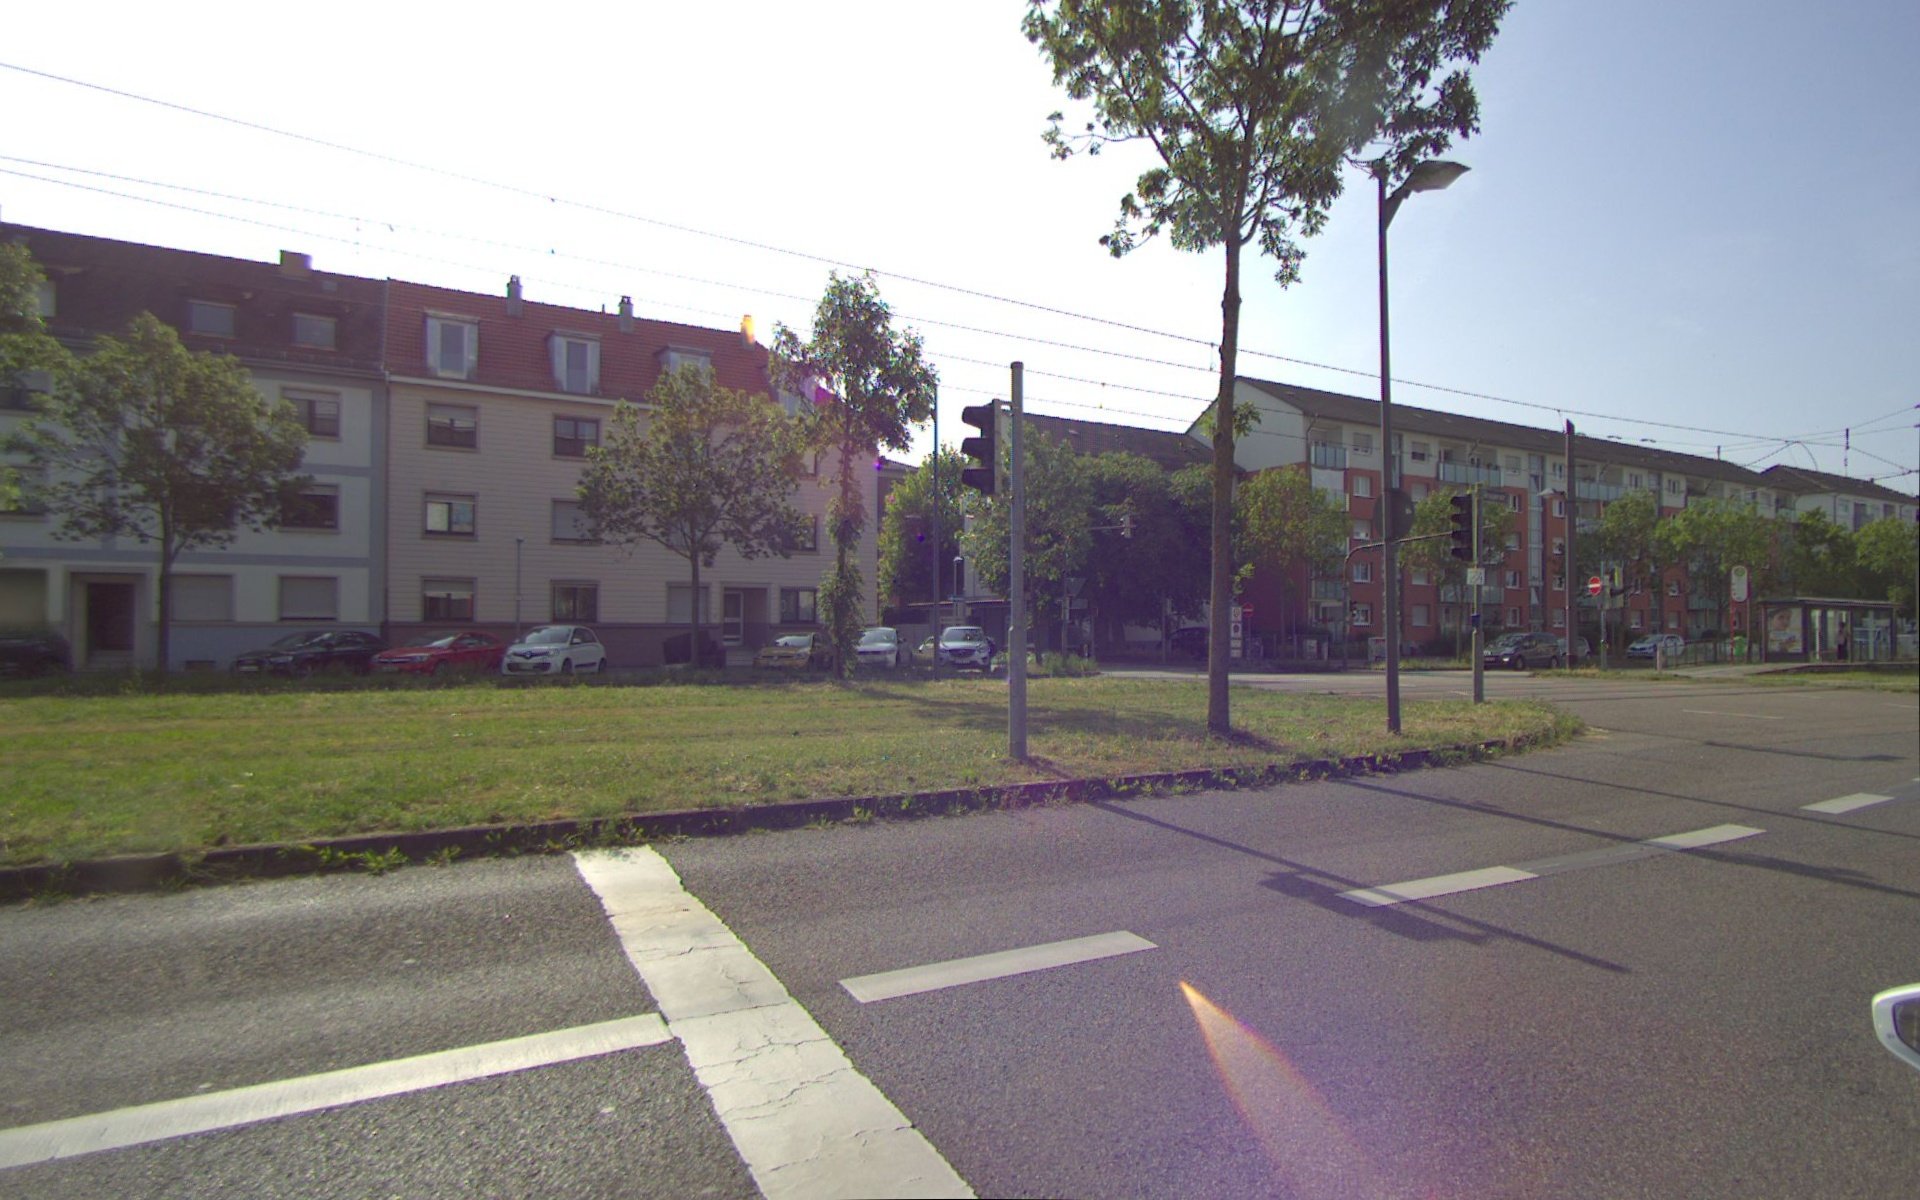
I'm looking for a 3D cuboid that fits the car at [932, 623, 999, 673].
[{"bbox_3d":[0.262,1.588,34.268,1.924,1.483,4.355,1,0,4],"label":"car"}]

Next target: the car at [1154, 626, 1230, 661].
[{"bbox_3d":[12.781,2.375,55.540,1.975,1.717,3.971,1,0,-28],"label":"car"}]

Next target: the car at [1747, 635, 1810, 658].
[{"bbox_3d":[54.851,3.116,67.296,4.021,1.378,1.971,2,0,-30],"label":"car"}]

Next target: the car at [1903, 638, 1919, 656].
[{"bbox_3d":[77.336,3.749,80.049,4.628,1.397,1.971,2,0,-30],"label":"car"}]

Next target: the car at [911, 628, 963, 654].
[{"bbox_3d":[-1.522,2.603,64.124,1.797,1.494,3.973,1,0,-26],"label":"car"}]

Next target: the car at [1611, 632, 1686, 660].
[{"bbox_3d":[41.360,2.738,60.301,4.483,1.577,1.971,2,0,-30],"label":"car"}]

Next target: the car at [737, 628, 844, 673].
[{"bbox_3d":[-5.222,1.538,31.524,1.959,1.194,4.002,1,0,12],"label":"car"}]

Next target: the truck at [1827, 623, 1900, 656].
[{"bbox_3d":[74.109,3.229,82.331,7.155,2.597,2.354,2,0,-30],"label":"truck"}]

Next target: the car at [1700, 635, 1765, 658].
[{"bbox_3d":[49.941,2.979,64.947,4.021,1.378,1.971,2,0,-30],"label":"car"}]

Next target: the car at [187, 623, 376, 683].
[{"bbox_3d":[-16.451,1.238,24.614,1.665,1.251,4.002,1,0,5],"label":"car"}]

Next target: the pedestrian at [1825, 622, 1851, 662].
[{"bbox_3d":[37.832,1.809,43.269,0.786,1.675,0.667,2,-2,-33],"label":"pedestrian"}]

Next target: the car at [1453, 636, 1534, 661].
[{"bbox_3d":[27.964,2.532,52.643,4.115,1.163,1.825,2,0,-30],"label":"car"}]

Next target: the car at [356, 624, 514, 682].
[{"bbox_3d":[-13.705,1.339,26.496,1.838,1.275,4.002,1,0,4],"label":"car"}]

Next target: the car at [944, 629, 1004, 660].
[{"bbox_3d":[0.784,2.641,59.708,1.973,1.627,3.973,1,0,-26],"label":"car"}]

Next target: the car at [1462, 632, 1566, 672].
[{"bbox_3d":[25.291,2.351,45.793,4.654,1.728,1.985,2,-1,-28],"label":"car"}]

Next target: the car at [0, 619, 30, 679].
[{"bbox_3d":[-22.269,1.071,20.967,1.961,1.305,4.059,1,0,-1],"label":"car"}]

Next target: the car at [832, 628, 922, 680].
[{"bbox_3d":[-2.564,1.680,32.239,1.959,1.534,4.468,0,-2,8],"label":"car"}]

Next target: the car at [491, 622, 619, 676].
[{"bbox_3d":[-11.109,1.311,27.865,1.849,1.286,4.001,1,0,1],"label":"car"}]
